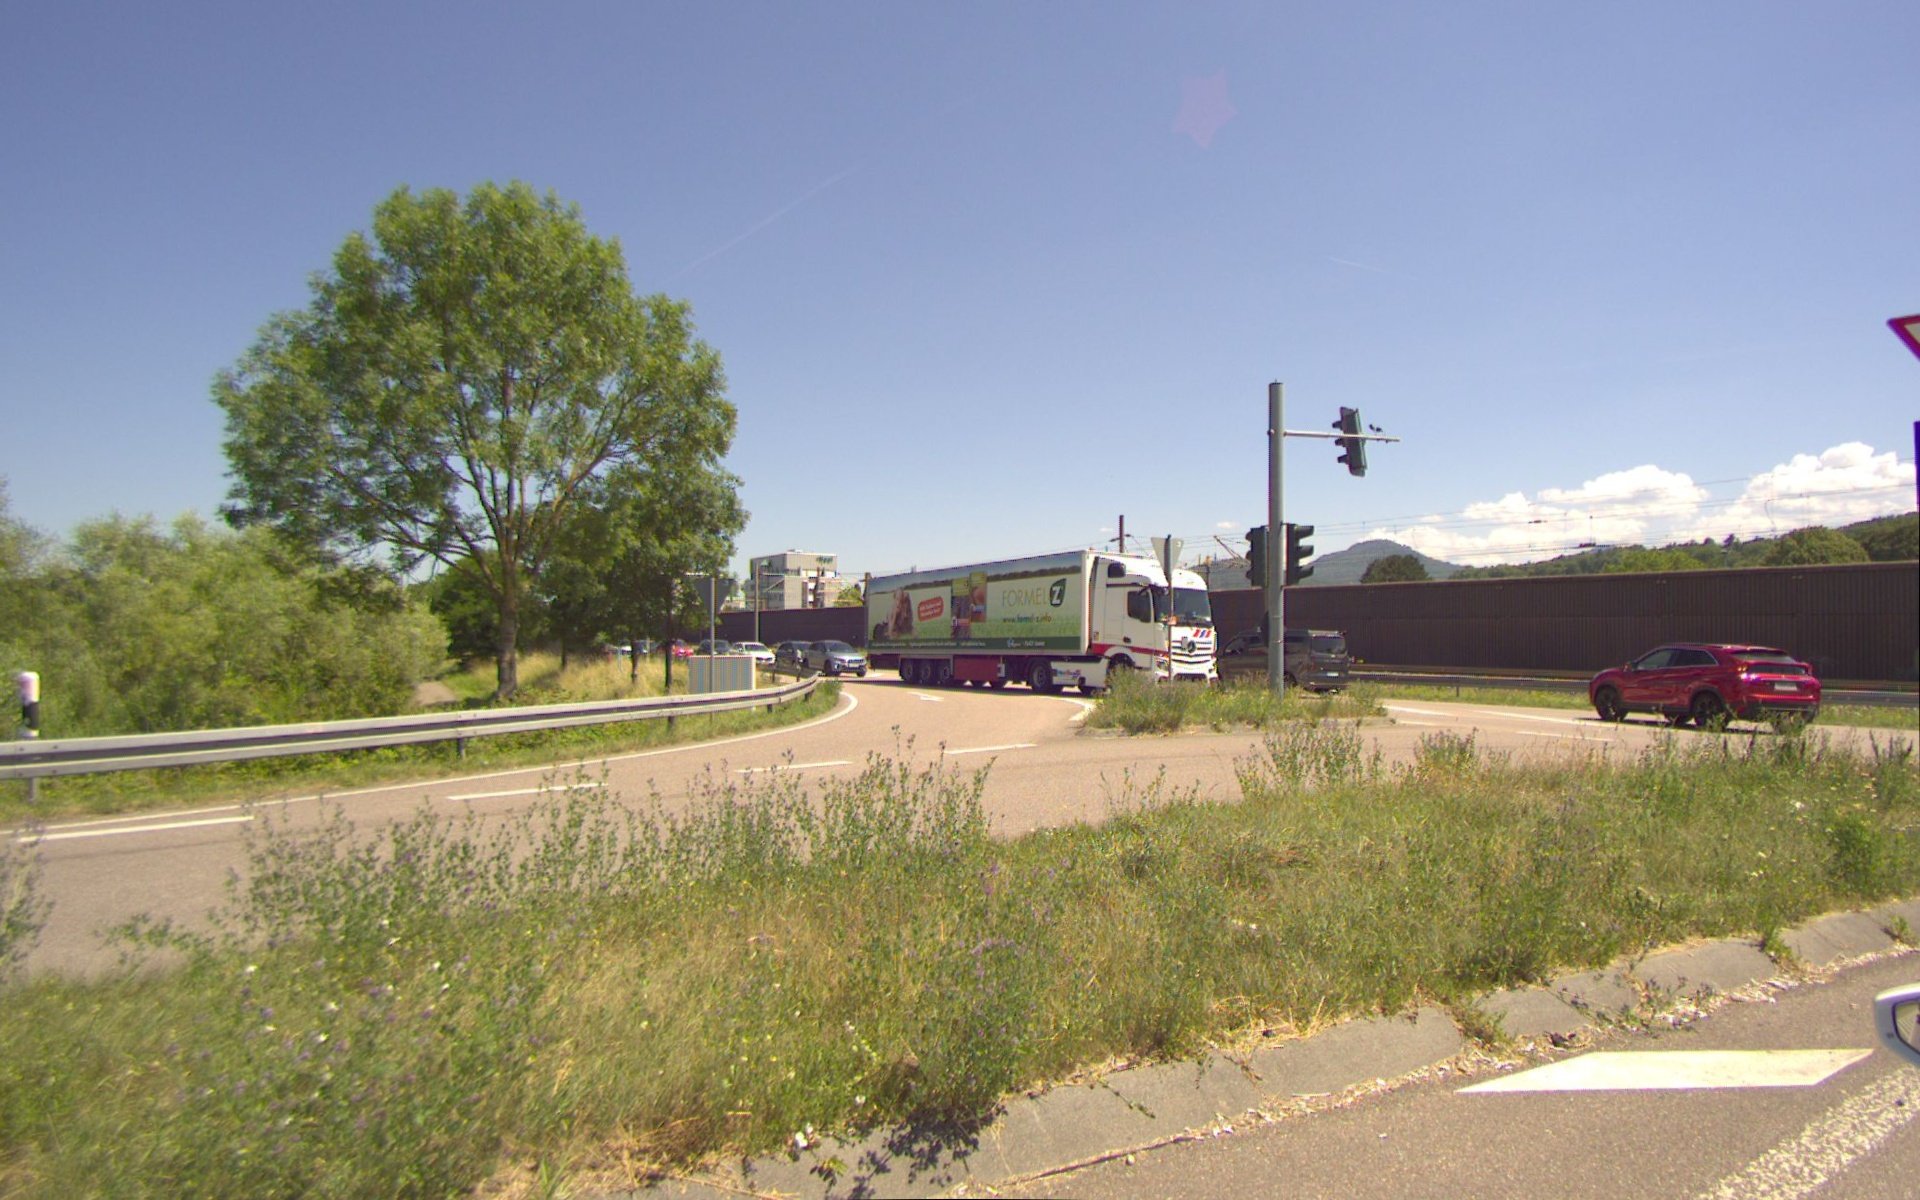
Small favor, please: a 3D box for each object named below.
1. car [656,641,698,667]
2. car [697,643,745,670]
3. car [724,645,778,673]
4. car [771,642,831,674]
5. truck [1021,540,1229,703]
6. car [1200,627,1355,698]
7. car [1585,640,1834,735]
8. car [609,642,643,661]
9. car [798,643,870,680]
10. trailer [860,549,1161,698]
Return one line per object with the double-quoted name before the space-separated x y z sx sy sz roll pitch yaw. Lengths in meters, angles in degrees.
"car" -19.611 3.725 69.600 1.741 1.653 4.244 3 -3 -30
"car" -15.020 3.508 62.983 1.702 1.610 4.499 3 -3 -30
"car" -11.882 3.321 56.978 1.639 1.498 4.594 3 -3 -30
"car" -8.167 2.917 51.260 1.610 1.558 4.351 1 -2 -29
"truck" 4.524 0.709 28.514 2.669 4.097 5.775 3 -4 -32
"car" 9.955 1.948 31.873 1.987 2.048 4.753 2 -3 -26
"car" 14.859 1.690 20.266 1.874 1.671 4.142 2 -3 -1
"car" -27.499 4.195 82.564 1.672 1.478 4.578 3 -4 -31
"car" -5.739 2.752 45.317 1.698 1.582 4.119 2 -3 -31
"trailer" 0.948 0.973 34.215 2.669 4.097 14.002 3 -4 -32
